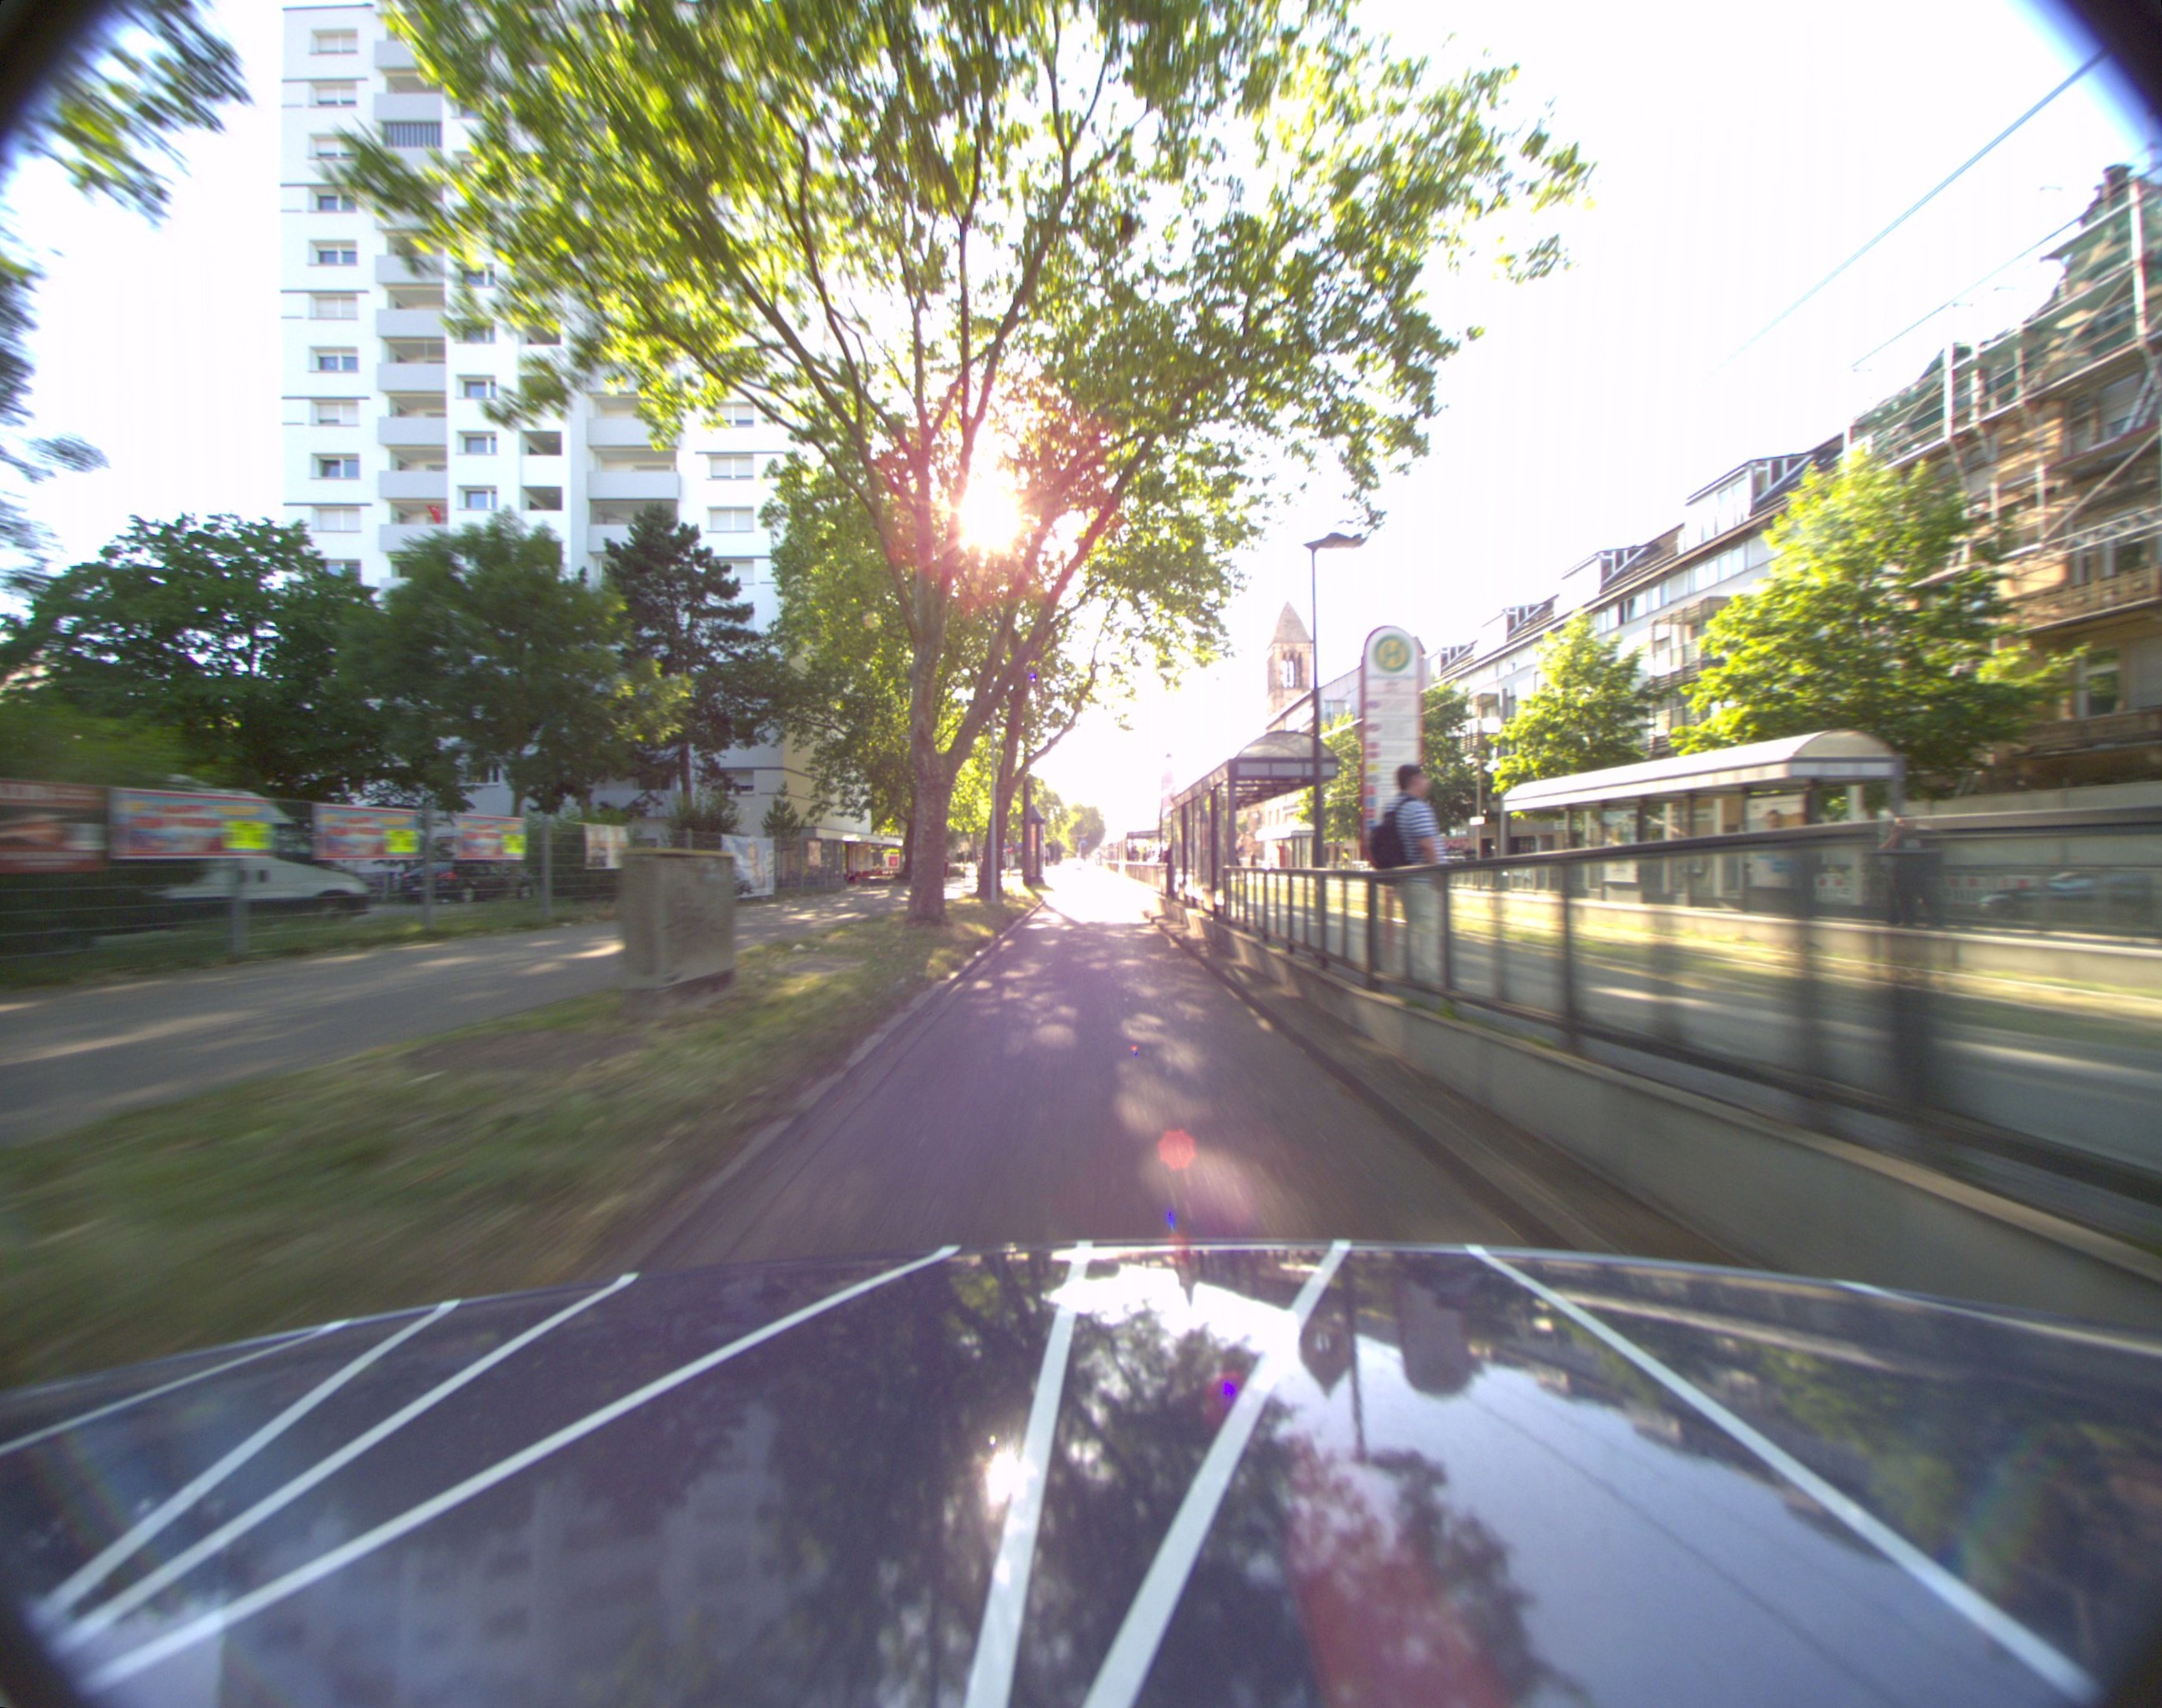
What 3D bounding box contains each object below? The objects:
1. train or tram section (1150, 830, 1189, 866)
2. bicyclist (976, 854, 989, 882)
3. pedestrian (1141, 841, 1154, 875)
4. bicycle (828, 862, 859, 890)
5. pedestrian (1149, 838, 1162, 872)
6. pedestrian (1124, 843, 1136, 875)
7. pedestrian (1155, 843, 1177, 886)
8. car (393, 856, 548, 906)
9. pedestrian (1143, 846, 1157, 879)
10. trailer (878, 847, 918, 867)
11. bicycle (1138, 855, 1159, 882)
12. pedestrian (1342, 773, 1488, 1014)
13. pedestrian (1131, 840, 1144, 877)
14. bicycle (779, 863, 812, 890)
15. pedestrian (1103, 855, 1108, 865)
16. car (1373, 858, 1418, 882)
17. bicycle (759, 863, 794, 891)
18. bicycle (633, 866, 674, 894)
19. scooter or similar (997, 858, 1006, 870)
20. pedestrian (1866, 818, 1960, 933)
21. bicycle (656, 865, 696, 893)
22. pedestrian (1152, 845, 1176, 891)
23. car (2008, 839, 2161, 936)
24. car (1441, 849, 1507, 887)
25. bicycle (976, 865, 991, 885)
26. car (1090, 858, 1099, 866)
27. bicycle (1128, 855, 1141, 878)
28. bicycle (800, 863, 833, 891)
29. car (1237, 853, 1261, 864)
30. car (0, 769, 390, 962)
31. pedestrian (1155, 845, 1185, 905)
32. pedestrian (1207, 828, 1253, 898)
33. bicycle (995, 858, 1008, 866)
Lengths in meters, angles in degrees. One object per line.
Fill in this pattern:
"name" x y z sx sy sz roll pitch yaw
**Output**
"train or tram section" 9.811 -0.635 85.984 2.877 3.664 14.559 0 0 1
"bicyclist" -5.373 0.755 41.657 0.604 1.542 0.860 0 1 -1
"pedestrian" 3.588 0.203 40.919 0.600 1.789 0.824 -2 1 6
"bicycle" -10.811 0.999 34.587 0.791 1.171 1.820 -2 0 0
"pedestrian" 3.787 0.037 38.618 0.507 1.698 0.729 -2 1 -3
"pedestrian" 2.995 0.290 46.569 0.671 1.891 0.824 -2 1 2
"pedestrian" 3.578 0.444 32.157 0.787 1.760 0.773 -2 1 0
"car" -20.117 0.832 25.301 1.999 1.444 3.999 -2 0 -3
"pedestrian" 3.574 0.432 39.360 0.550 1.698 0.599 -2 1 -3
"trailer" -22.068 0.376 91.550 4.520 2.359 1.911 0 0 -21
"bicycle" 3.002 0.631 33.833 0.739 1.126 2.030 -2 0 0
"pedestrian" 2.516 0.279 5.818 0.681 1.680 0.894 -2 1 0
"pedestrian" 3.090 0.252 41.511 0.600 1.984 0.824 -2 1 6
"bicycle" -13.040 1.007 34.792 0.791 1.171 1.820 -2 0 0
"pedestrian" 4.122 1.028 126.451 0.679 1.611 0.925 -2 1 -2
"car" 23.822 1.157 57.683 1.811 1.667 3.785 -2 0 0
"bicycle" -13.926 1.040 34.812 0.791 1.171 1.820 -2 0 0
"bicycle" -19.547 1.176 34.756 0.791 1.171 1.820 -2 0 0
"scooter or similar" -8.611 1.095 82.284 0.561 1.250 1.291 1 1 9
"pedestrian" 12.651 0.315 11.571 0.681 1.680 0.654 -2 1 -2
"bicycle" -18.513 1.138 34.800 0.791 1.171 1.820 -2 0 0
"pedestrian" 2.866 0.472 26.333 0.680 1.553 0.851 -2 1 0
"car" 23.779 0.688 16.674 1.998 2.002 4.000 -2 0 2
"car" 23.772 0.815 46.112 1.945 2.154 3.785 -2 0 0
"bicycle" -5.363 1.138 41.710 0.604 1.020 1.766 0 0 -1
"car" 2.421 1.401 135.829 1.636 1.491 4.000 -1 0 0
"bicycle" 2.804 0.624 39.808 0.514 1.126 2.103 -2 0 0
"bicycle" -12.085 1.045 34.750 0.791 1.171 1.820 -2 0 0
"car" 31.478 0.836 142.085 4.024 1.795 1.870 -2 0 1
"car" -14.817 0.177 11.851 1.998 2.484 6.347 -2 0 3
"pedestrian" 2.659 0.616 22.756 0.767 1.748 0.695 -2 1 0
"pedestrian" 3.760 0.220 19.199 0.912 1.712 0.630 -3 1 -33
"bicycle" -11.836 1.169 112.652 1.827 1.047 0.534 -1 0 -26
